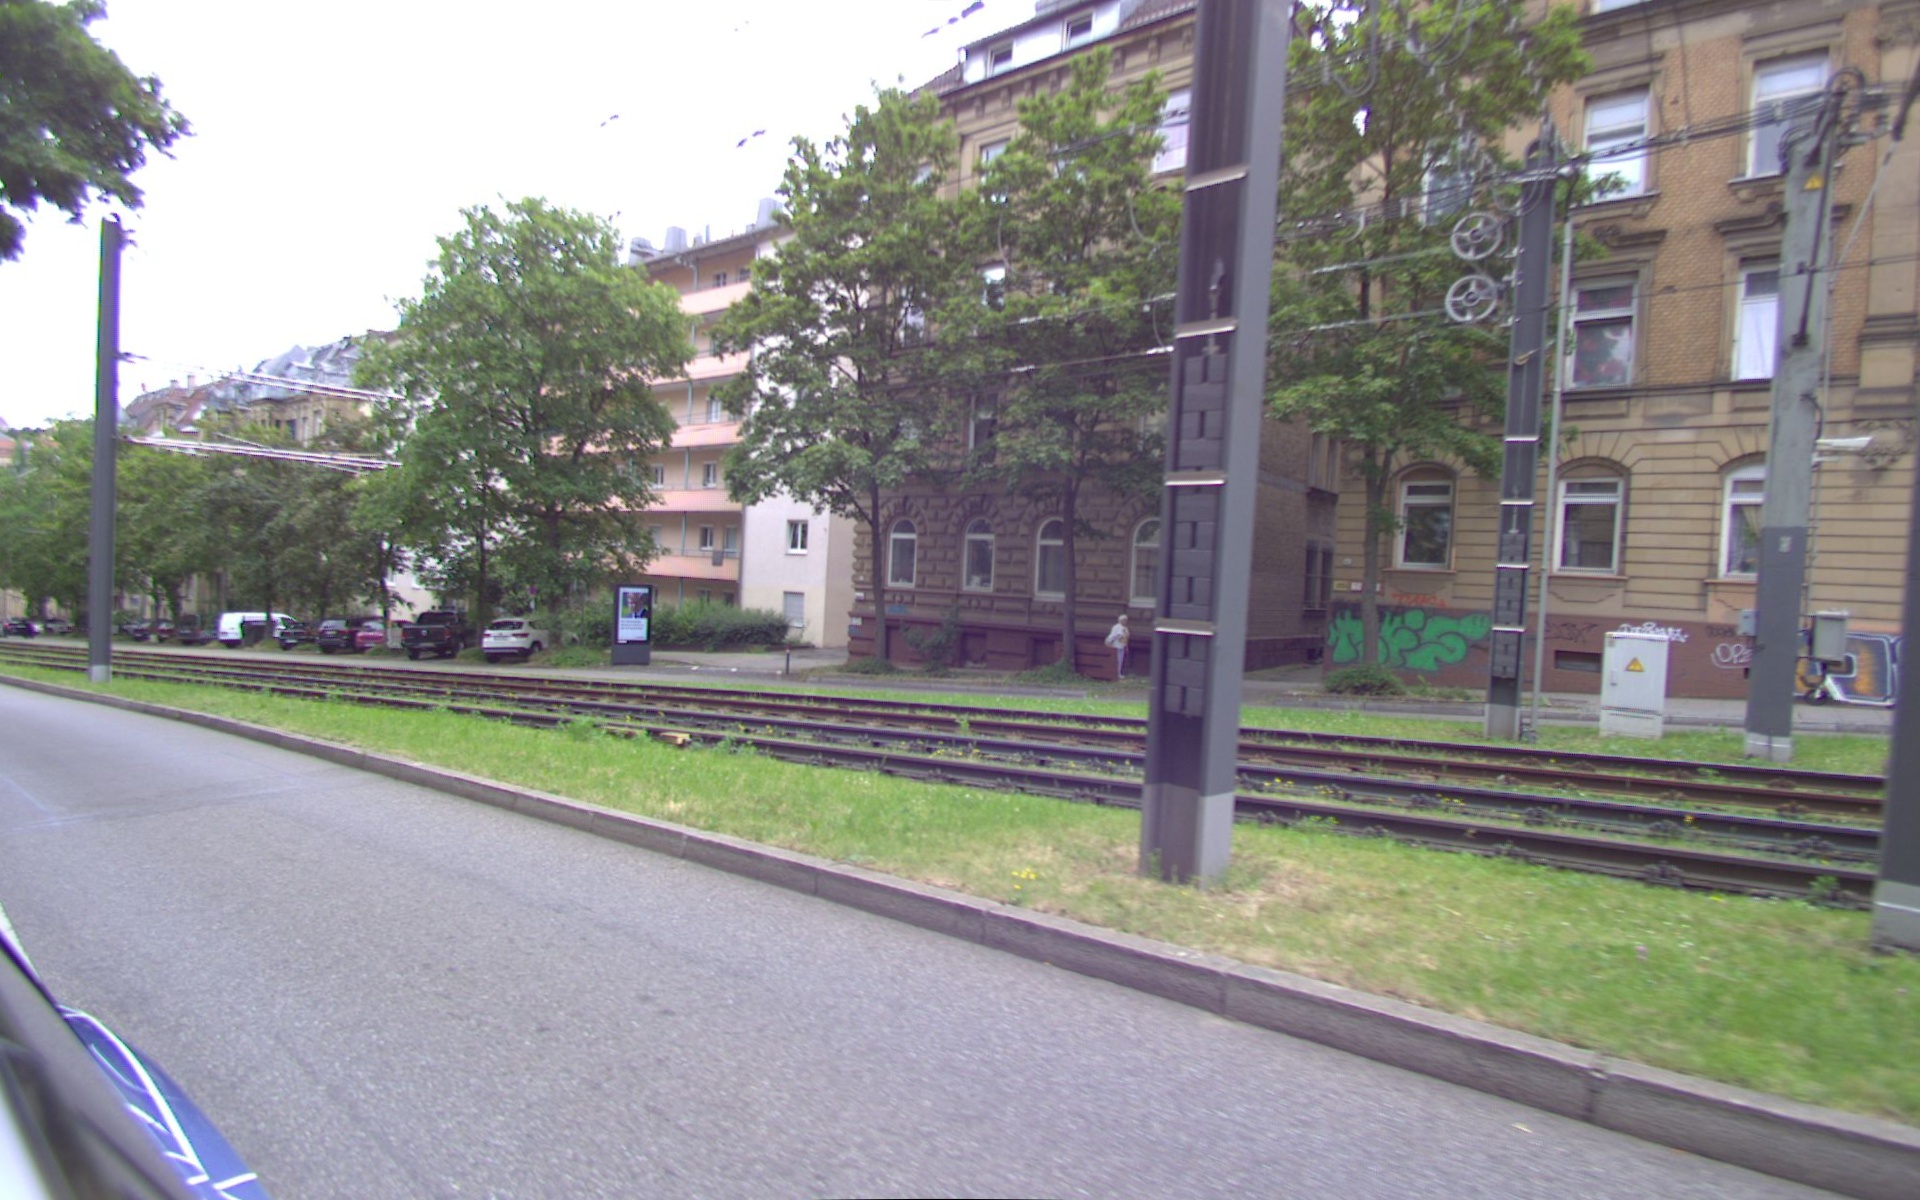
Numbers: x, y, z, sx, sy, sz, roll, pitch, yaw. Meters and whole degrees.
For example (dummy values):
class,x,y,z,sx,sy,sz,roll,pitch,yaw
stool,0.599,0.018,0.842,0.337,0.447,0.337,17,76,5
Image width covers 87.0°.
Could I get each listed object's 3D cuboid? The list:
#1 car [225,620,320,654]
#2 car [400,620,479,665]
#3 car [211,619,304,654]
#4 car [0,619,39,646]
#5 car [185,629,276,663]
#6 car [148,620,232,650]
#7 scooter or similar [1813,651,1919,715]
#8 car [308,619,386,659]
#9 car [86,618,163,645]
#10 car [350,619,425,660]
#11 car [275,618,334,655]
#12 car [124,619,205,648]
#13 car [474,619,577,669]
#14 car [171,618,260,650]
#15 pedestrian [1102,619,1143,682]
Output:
class,x,y,z,sx,sy,sz,roll,pitch,yaw
car,-35.592,1.908,52.524,1.768,1.701,3.838,-1,-2,16
car,-20.450,1.647,39.936,1.755,1.701,3.866,0,-2,-11
car,-37.408,1.928,53.981,1.768,1.828,3.838,-1,-2,16
car,-72.530,2.496,77.550,3.988,2.029,1.977,-1,-2,33
car,-41.563,2.599,57.760,1.773,1.828,3.827,-1,-2,23
car,-48.054,2.161,63.251,1.773,1.828,3.827,-1,-2,23
scooter or similar,15.042,1.351,16.590,1.588,0.949,0.423,1,-1,44
car,-27.489,1.717,45.514,1.756,1.701,3.866,0,-1,-10
car,-59.342,2.250,71.956,1.773,1.828,3.827,-1,-2,23
car,-25.264,1.729,44.805,1.755,1.701,3.866,0,-2,-11
car,-31.932,1.743,49.369,1.753,1.701,3.870,1,-1,-23
car,-52.337,2.180,66.633,1.773,1.828,3.827,-1,-2,23
car,-15.607,1.532,36.553,1.763,1.701,3.850,0,-1,7
car,-43.580,1.994,59.296,1.773,1.828,3.827,-1,-2,23
pedestrian,3.998,1.239,24.931,0.739,1.524,0.681,-2,-2,40
